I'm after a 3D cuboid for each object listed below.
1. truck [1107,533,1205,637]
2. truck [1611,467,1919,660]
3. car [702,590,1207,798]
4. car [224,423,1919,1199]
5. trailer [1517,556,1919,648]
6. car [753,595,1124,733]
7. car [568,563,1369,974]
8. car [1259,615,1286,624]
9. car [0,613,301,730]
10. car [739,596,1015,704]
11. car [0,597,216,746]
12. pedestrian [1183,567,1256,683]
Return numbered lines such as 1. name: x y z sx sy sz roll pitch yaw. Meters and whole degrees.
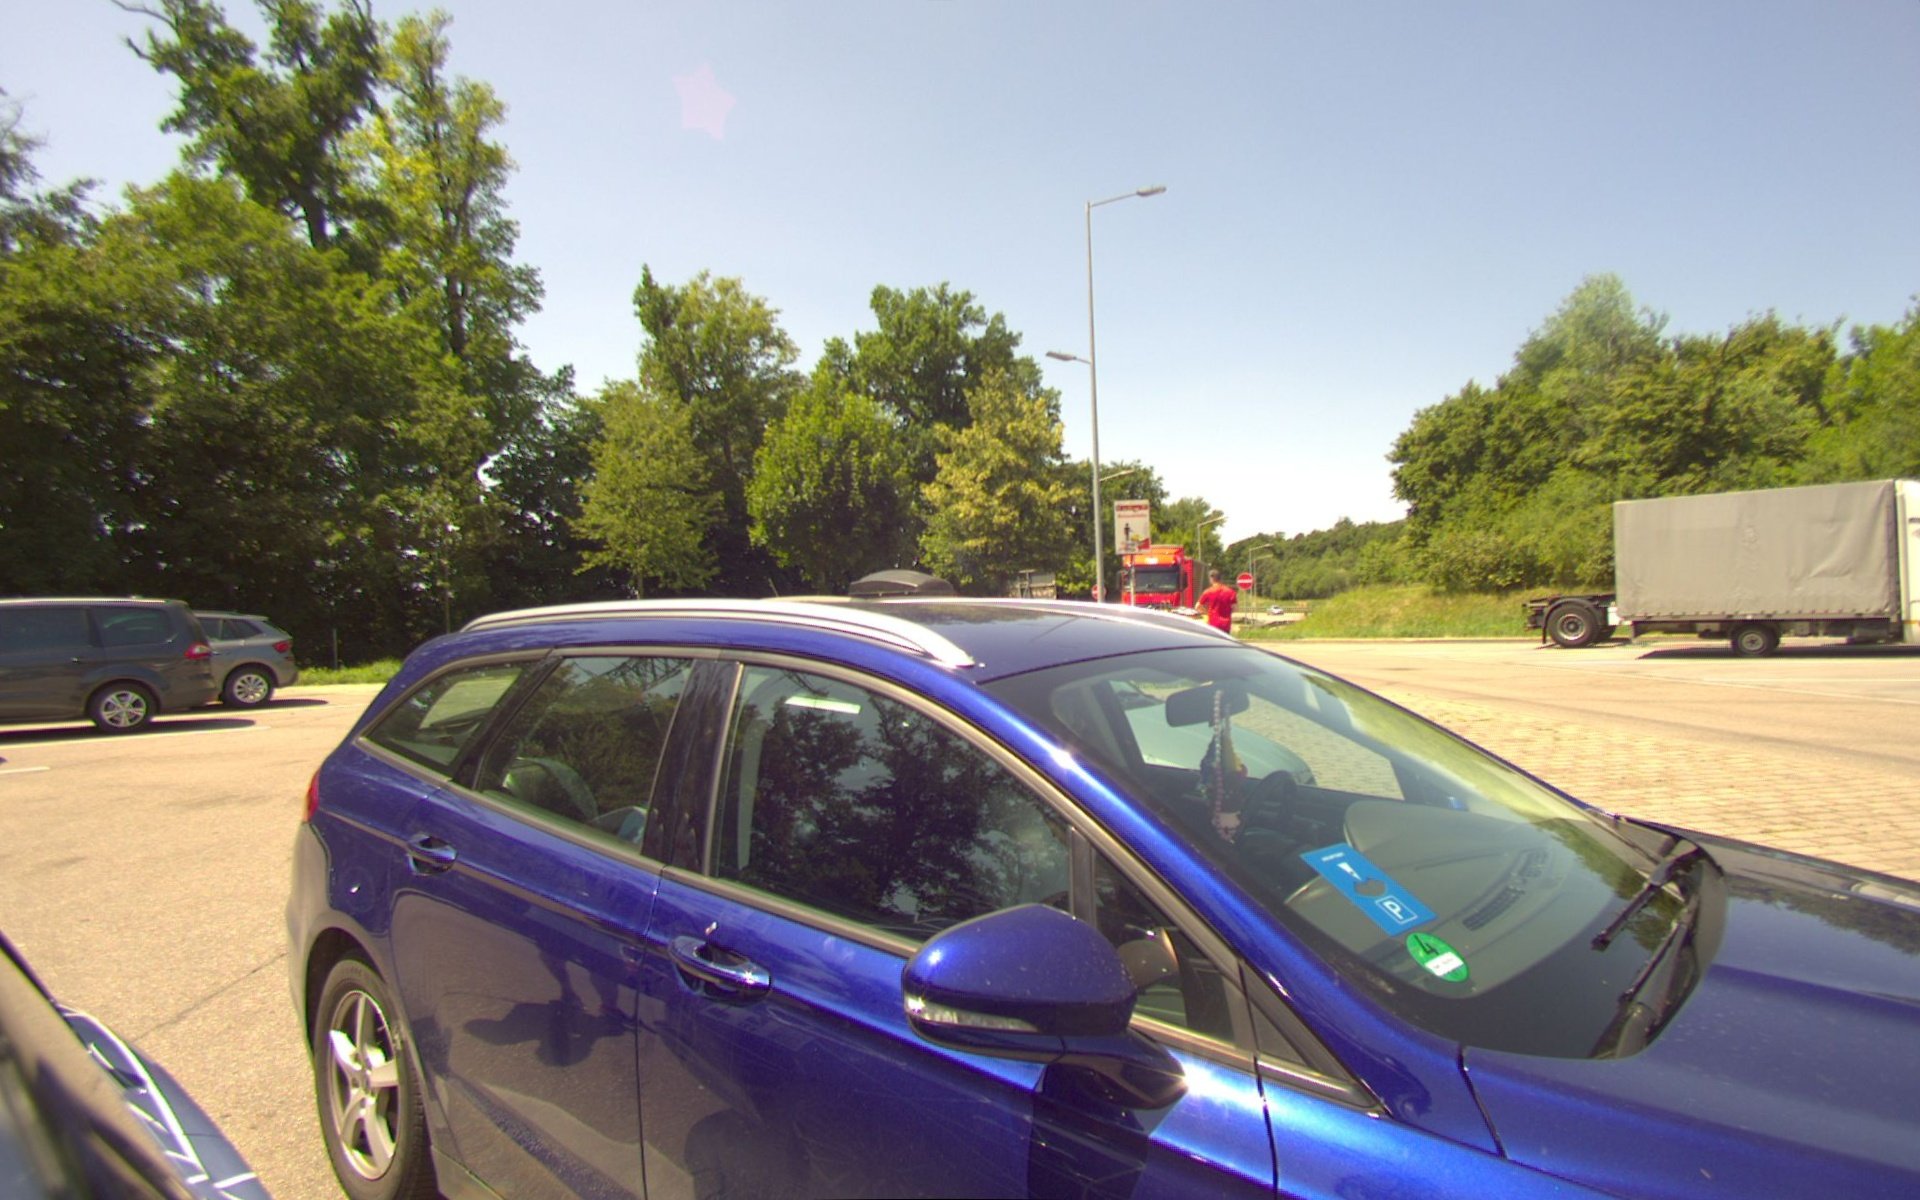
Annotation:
1. truck: 9.630 -0.604 48.110 3.106 4.150 15.318 -1 0 16
2. truck: 16.833 -0.658 18.970 7.295 3.259 2.709 -4 -1 43
3. car: -0.240 0.746 9.218 4.490 1.437 1.754 -3 -1 40
4. car: 0.258 0.658 2.145 4.490 1.502 1.851 -3 0 40
5. trailer: 17.259 0.122 23.398 7.295 1.701 2.235 -4 -1 43
6. car: -0.381 0.772 12.765 4.485 1.437 1.756 -3 -1 36
7. car: -0.254 0.691 5.844 4.490 1.511 1.754 -3 -1 40
8. car: 53.029 3.325 171.855 3.998 1.415 1.826 -1 0 41
9. car: -12.592 1.000 15.473 1.687 1.515 3.943 -1 0 43
10. car: -1.472 0.823 16.865 4.485 1.562 1.756 -3 -1 36
11. car: -11.937 0.855 12.309 4.553 1.725 1.741 0 -1 -41
12. pedestrian: 4.053 0.380 15.833 0.664 1.746 0.836 -1 -1 -31
